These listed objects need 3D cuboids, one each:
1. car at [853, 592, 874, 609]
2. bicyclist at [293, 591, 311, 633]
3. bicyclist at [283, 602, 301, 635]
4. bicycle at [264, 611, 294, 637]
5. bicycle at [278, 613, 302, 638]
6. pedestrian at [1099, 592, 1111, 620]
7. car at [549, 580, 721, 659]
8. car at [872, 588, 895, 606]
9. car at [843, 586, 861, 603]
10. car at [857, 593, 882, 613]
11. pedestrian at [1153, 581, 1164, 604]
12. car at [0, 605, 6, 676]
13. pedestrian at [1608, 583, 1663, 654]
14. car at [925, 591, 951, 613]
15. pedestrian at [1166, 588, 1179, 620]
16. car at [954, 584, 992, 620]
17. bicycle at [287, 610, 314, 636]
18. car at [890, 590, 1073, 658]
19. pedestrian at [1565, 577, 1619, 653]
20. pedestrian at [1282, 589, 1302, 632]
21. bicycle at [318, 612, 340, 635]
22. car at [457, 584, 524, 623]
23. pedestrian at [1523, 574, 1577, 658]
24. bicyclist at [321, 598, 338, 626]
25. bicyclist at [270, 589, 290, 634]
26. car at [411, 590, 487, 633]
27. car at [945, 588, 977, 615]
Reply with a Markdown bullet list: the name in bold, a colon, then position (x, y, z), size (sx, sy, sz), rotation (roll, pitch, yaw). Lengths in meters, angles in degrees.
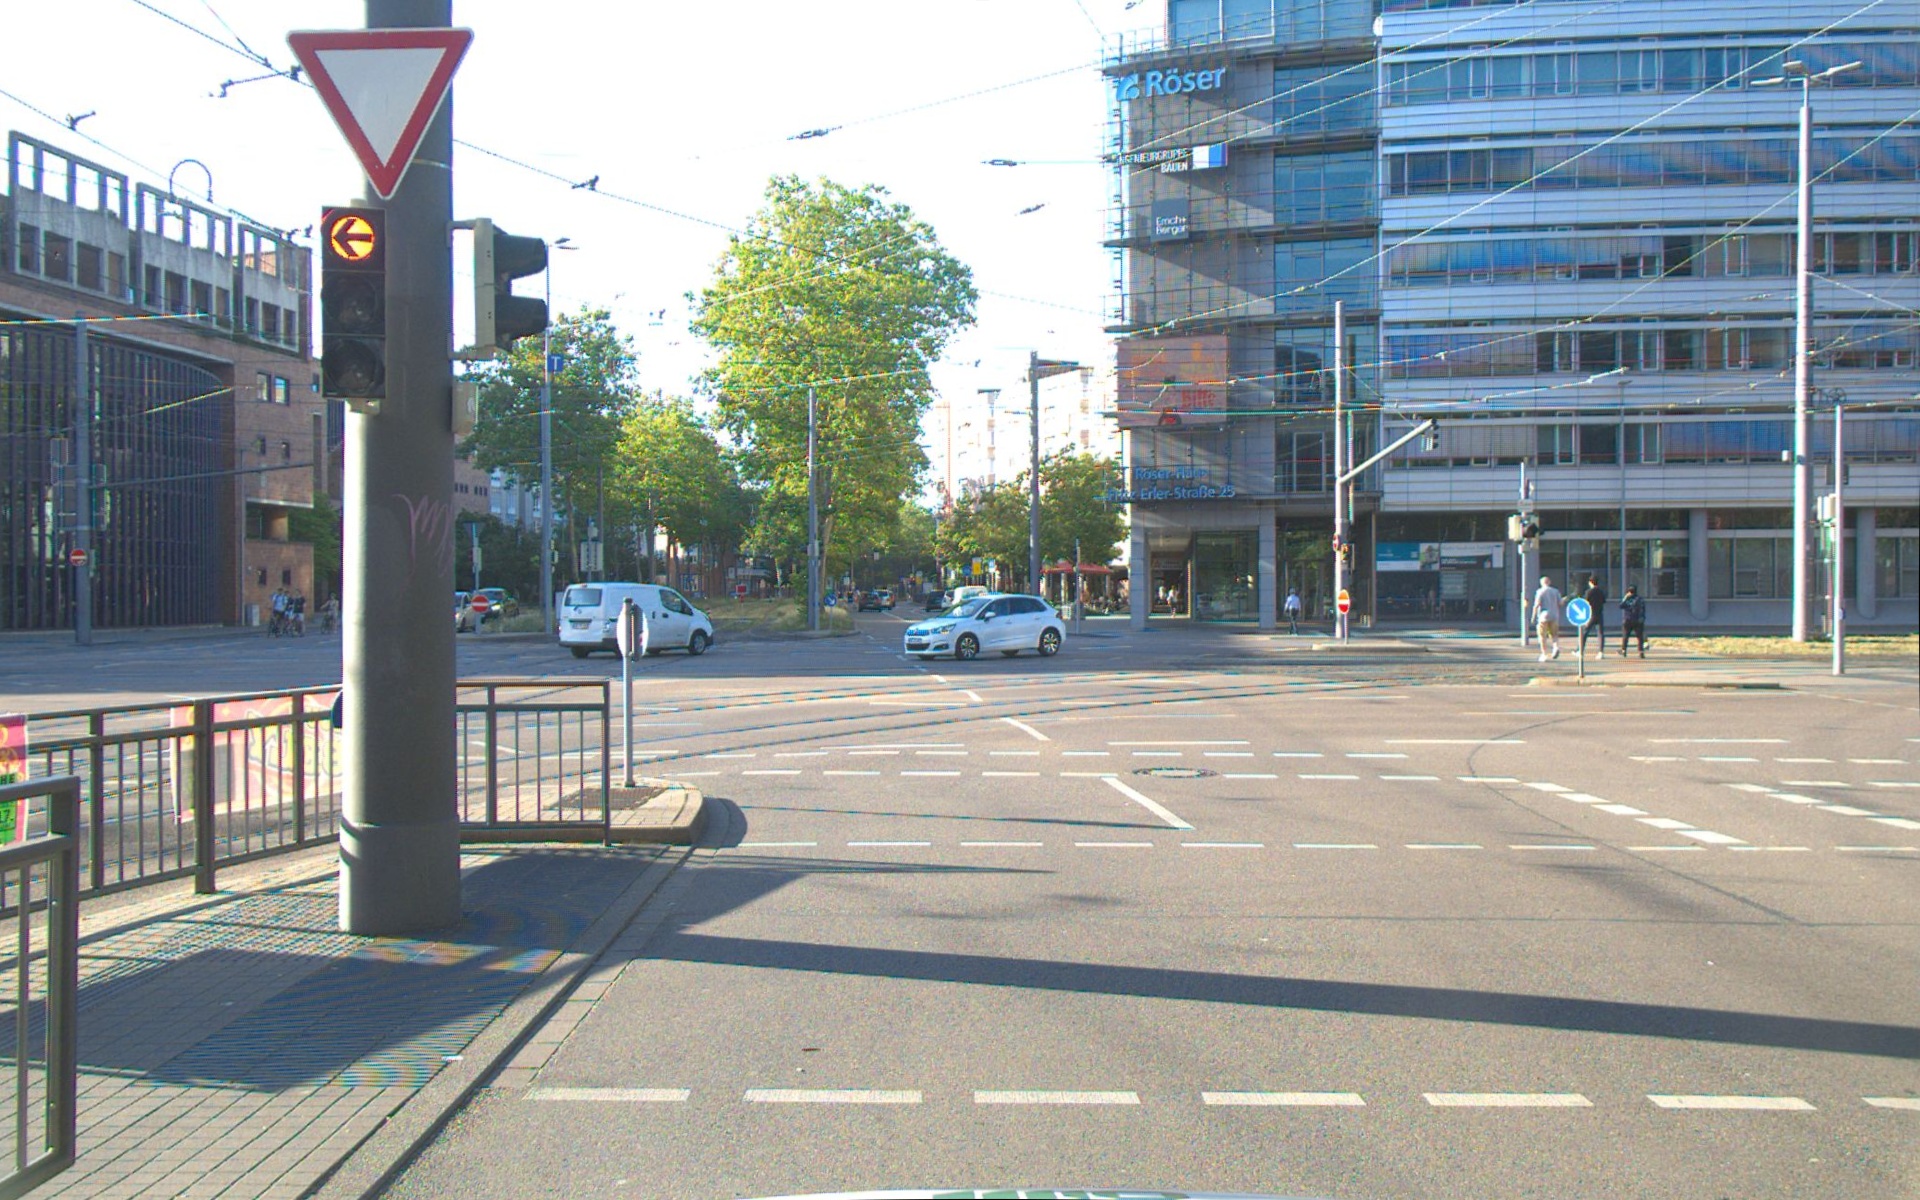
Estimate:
- **car**: position (-8.536, 0.023, 147.044), size (1.762, 1.467, 3.998), rotation (1, 0, -3)
- **bicyclist**: position (-26.049, 0.479, 65.472), size (0.449, 1.631, 0.581), rotation (-1, 0, -1)
- **bicyclist**: position (-27.547, 0.761, 68.186), size (0.495, 1.327, 0.581), rotation (-1, 0, -1)
- **bicycle**: position (-26.828, 0.935, 65.155), size (0.531, 0.980, 1.586), rotation (-1, 0, -1)
- **bicycle**: position (-27.573, 1.033, 68.126), size (0.458, 0.980, 1.320), rotation (-1, 0, -1)
- **pedestrian**: position (9.205, 0.390, 105.061), size (0.729, 1.744, 0.612), rotation (-1, 0, -1)
- **car**: position (-8.258, 0.448, 42.425), size (1.724, 1.899, 4.514), rotation (-1, 0, 32)
- **car**: position (-6.446, -0.231, 139.069), size (1.761, 1.467, 3.999), rotation (-1, 0, -1)
- **car**: position (-13.152, -0.680, 201.281), size (1.953, 2.049, 3.999), rotation (-1, 0, -1)
- **car**: position (-6.881, 0.224, 126.096), size (1.761, 1.467, 3.999), rotation (-1, 0, -1)
- **pedestrian**: position (15.363, -0.593, 127.868), size (0.729, 1.744, 0.612), rotation (-1, 0, -1)
- **car**: position (-20.701, 0.861, 32.455), size (1.594, 1.451, 4.103), rotation (-1, 0, 0)
- **pedestrian**: position (15.480, 0.422, 37.929), size (0.928, 1.591, 0.897), rotation (-1, 0, 6)
- **car**: position (-1.676, 0.129, 126.635), size (1.953, 1.646, 3.999), rotation (-1, 0, -1)
- **pedestrian**: position (10.332, 0.184, 80.299), size (0.599, 1.534, 0.579), rotation (-1, 0, 7)
- **car**: position (0.689, 0.114, 89.575), size (1.953, 1.892, 3.999), rotation (-1, 0, -1)
- **bicycle**: position (-26.075, 0.895, 65.438), size (0.463, 0.980, 1.575), rotation (-1, 0, -1)
- **car**: position (0.552, 0.554, 39.915), size (4.261, 1.514, 1.739), rotation (-1, 0, -36)
- **pedestrian**: position (14.522, 0.343, 38.026), size (0.893, 1.714, 1.036), rotation (-1, 0, 6)
- **pedestrian**: position (11.968, 0.380, 59.663), size (0.599, 1.534, 0.579), rotation (-1, 0, 3)
- **bicycle**: position (-27.122, 1.002, 71.056), size (0.442, 0.980, 1.347), rotation (-1, 0, -1)
- **car**: position (-21.120, 0.138, 74.596), size (1.953, 1.668, 3.999), rotation (-1, 0, -2)
- **pedestrian**: position (12.933, 0.338, 36.296), size (0.846, 1.820, 0.871), rotation (-1, 0, -1)
- **bicyclist**: position (-27.133, 0.509, 71.141), size (0.495, 1.199, 0.581), rotation (-1, 0, -1)
- **bicyclist**: position (-26.794, 0.440, 65.155), size (0.525, 1.761, 0.581), rotation (-1, 0, -1)
- **car**: position (-20.667, 0.438, 67.037), size (1.953, 1.668, 3.999), rotation (-1, 0, -2)
- **car**: position (0.038, 0.069, 105.211), size (1.953, 1.646, 3.999), rotation (-1, 0, -1)
